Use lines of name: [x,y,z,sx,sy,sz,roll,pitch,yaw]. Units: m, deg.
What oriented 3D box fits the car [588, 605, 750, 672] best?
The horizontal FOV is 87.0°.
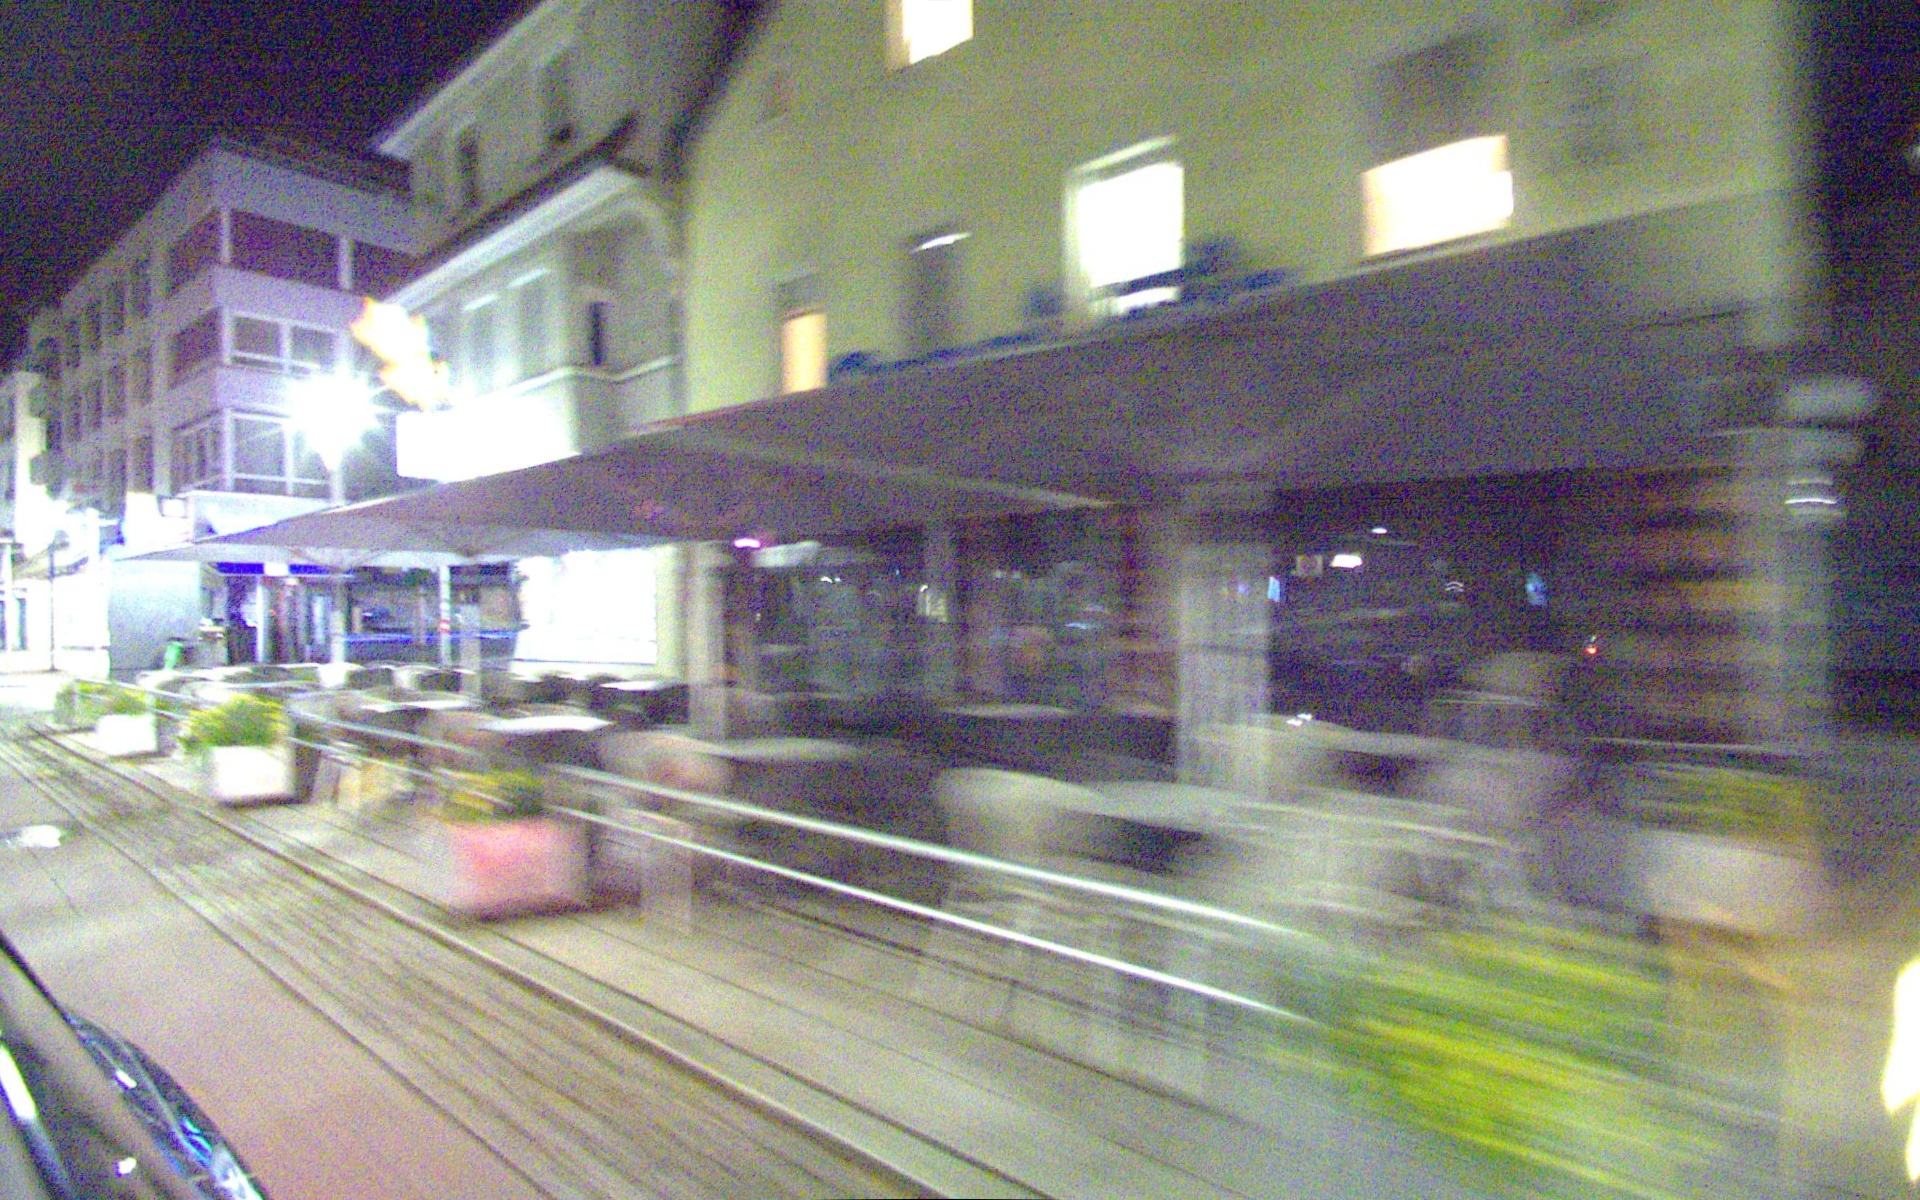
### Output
car: [-7.329,0.953,25.713,1.795,1.532,3.567,-4,-2,37]
